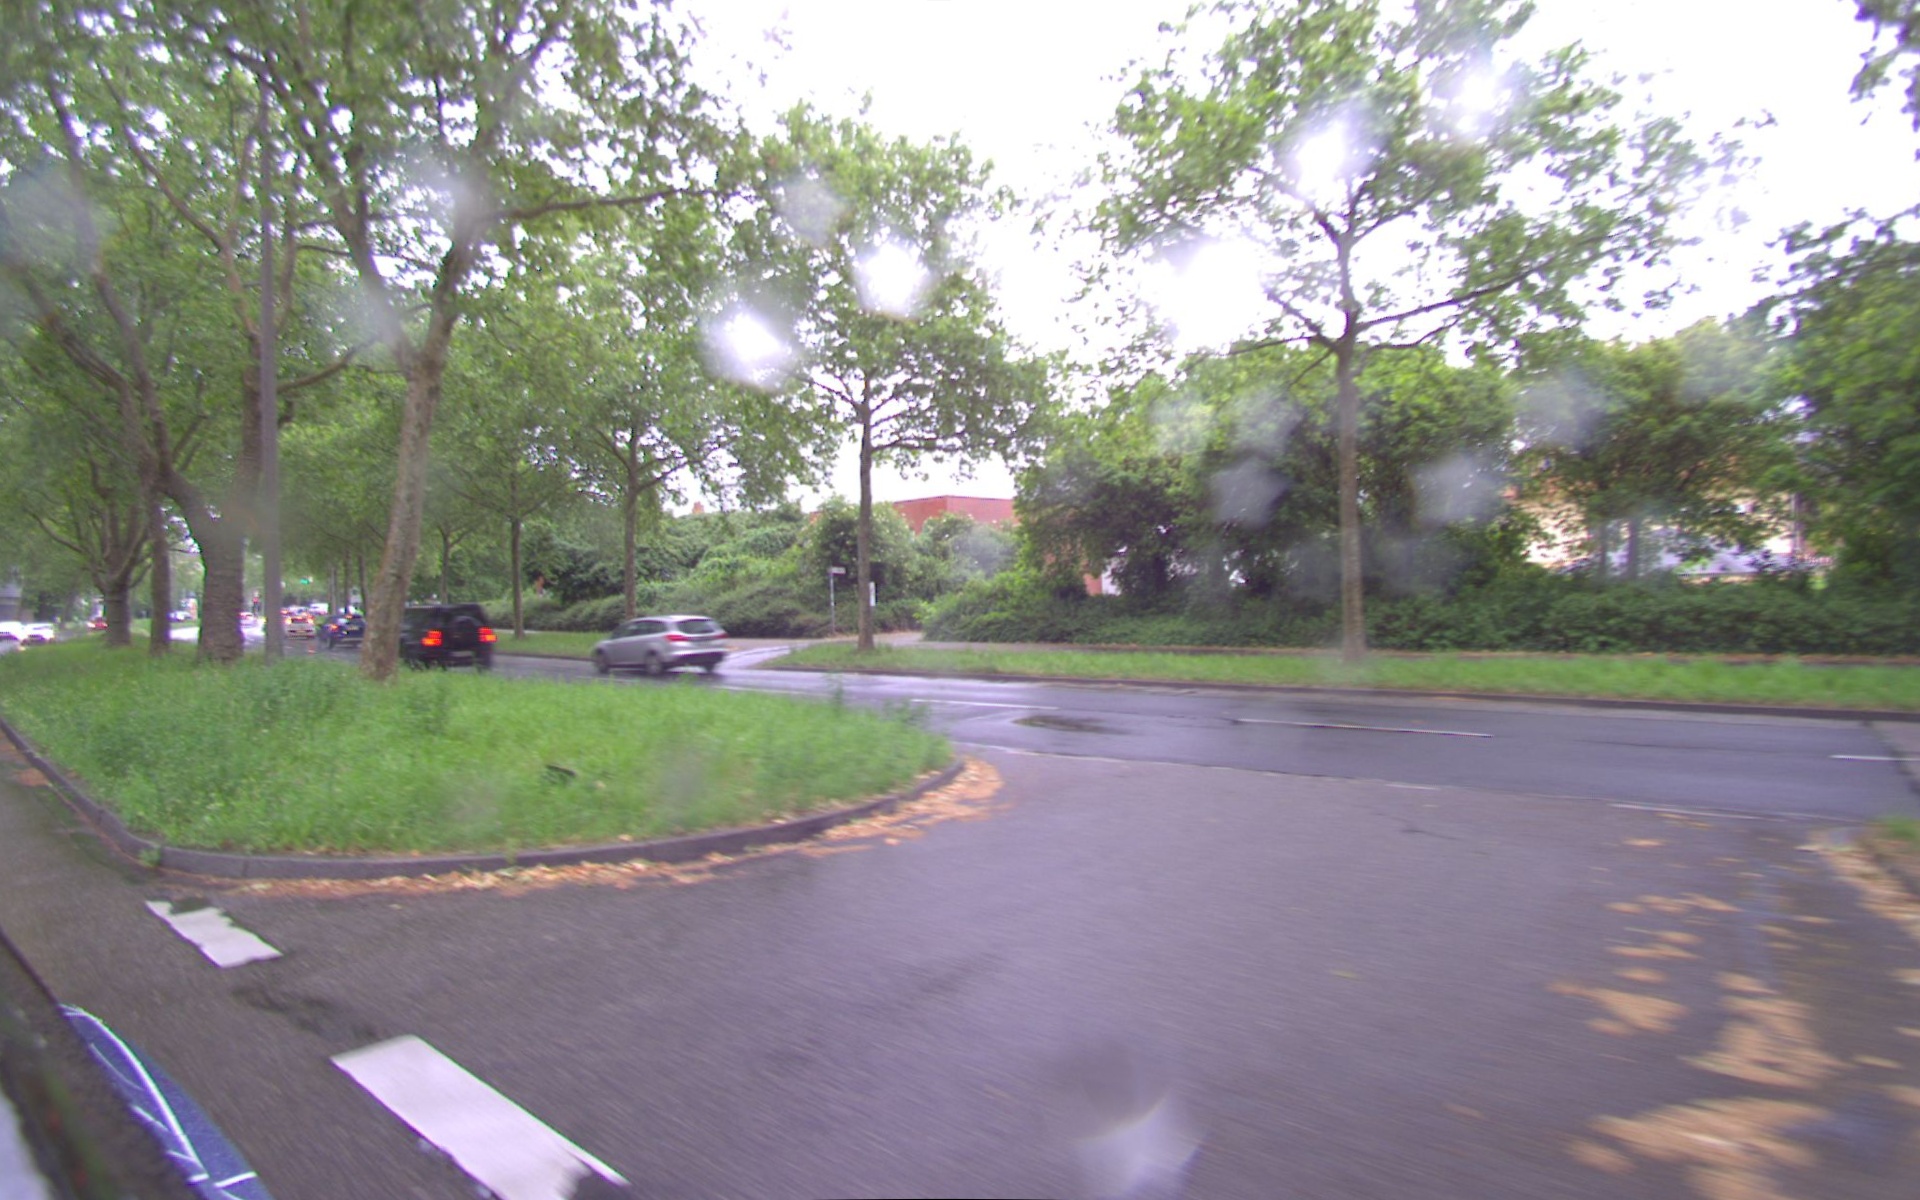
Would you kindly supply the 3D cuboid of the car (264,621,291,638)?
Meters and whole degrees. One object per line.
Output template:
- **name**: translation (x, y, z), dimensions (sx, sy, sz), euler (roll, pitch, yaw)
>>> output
- **car**: translation (-61.376, 2.628, 91.063), dimensions (1.719, 1.470, 3.853), euler (-2, 0, -31)

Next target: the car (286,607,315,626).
- **car**: translation (-80.679, 2.022, 123.877), dimensions (2.001, 2.243, 5.452), euler (-2, 0, -23)

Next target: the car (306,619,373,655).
- **car**: translation (-30.019, 1.751, 48.906), dimensions (4.211, 1.603, 1.724), euler (-1, 0, 44)

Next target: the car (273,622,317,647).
- **car**: translation (-42.130, 2.177, 64.107), dimensions (1.722, 1.487, 4.087), euler (-2, 0, -42)

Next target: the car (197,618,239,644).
- **car**: translation (-47.898, 1.969, 65.312), dimensions (1.722, 1.603, 4.335), euler (-2, 0, -42)

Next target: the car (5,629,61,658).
- **car**: translation (-58.955, 2.728, 64.424), dimensions (1.967, 1.641, 4.533), euler (-2, 1, -35)

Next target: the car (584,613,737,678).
- **car**: translation (-7.743, 1.119, 25.959), dimensions (4.232, 1.487, 1.725), euler (-1, 0, 41)

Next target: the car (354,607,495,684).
- **car**: translation (-14.625, 1.176, 27.503), dimensions (5.119, 1.855, 1.725), euler (-1, 0, 42)
